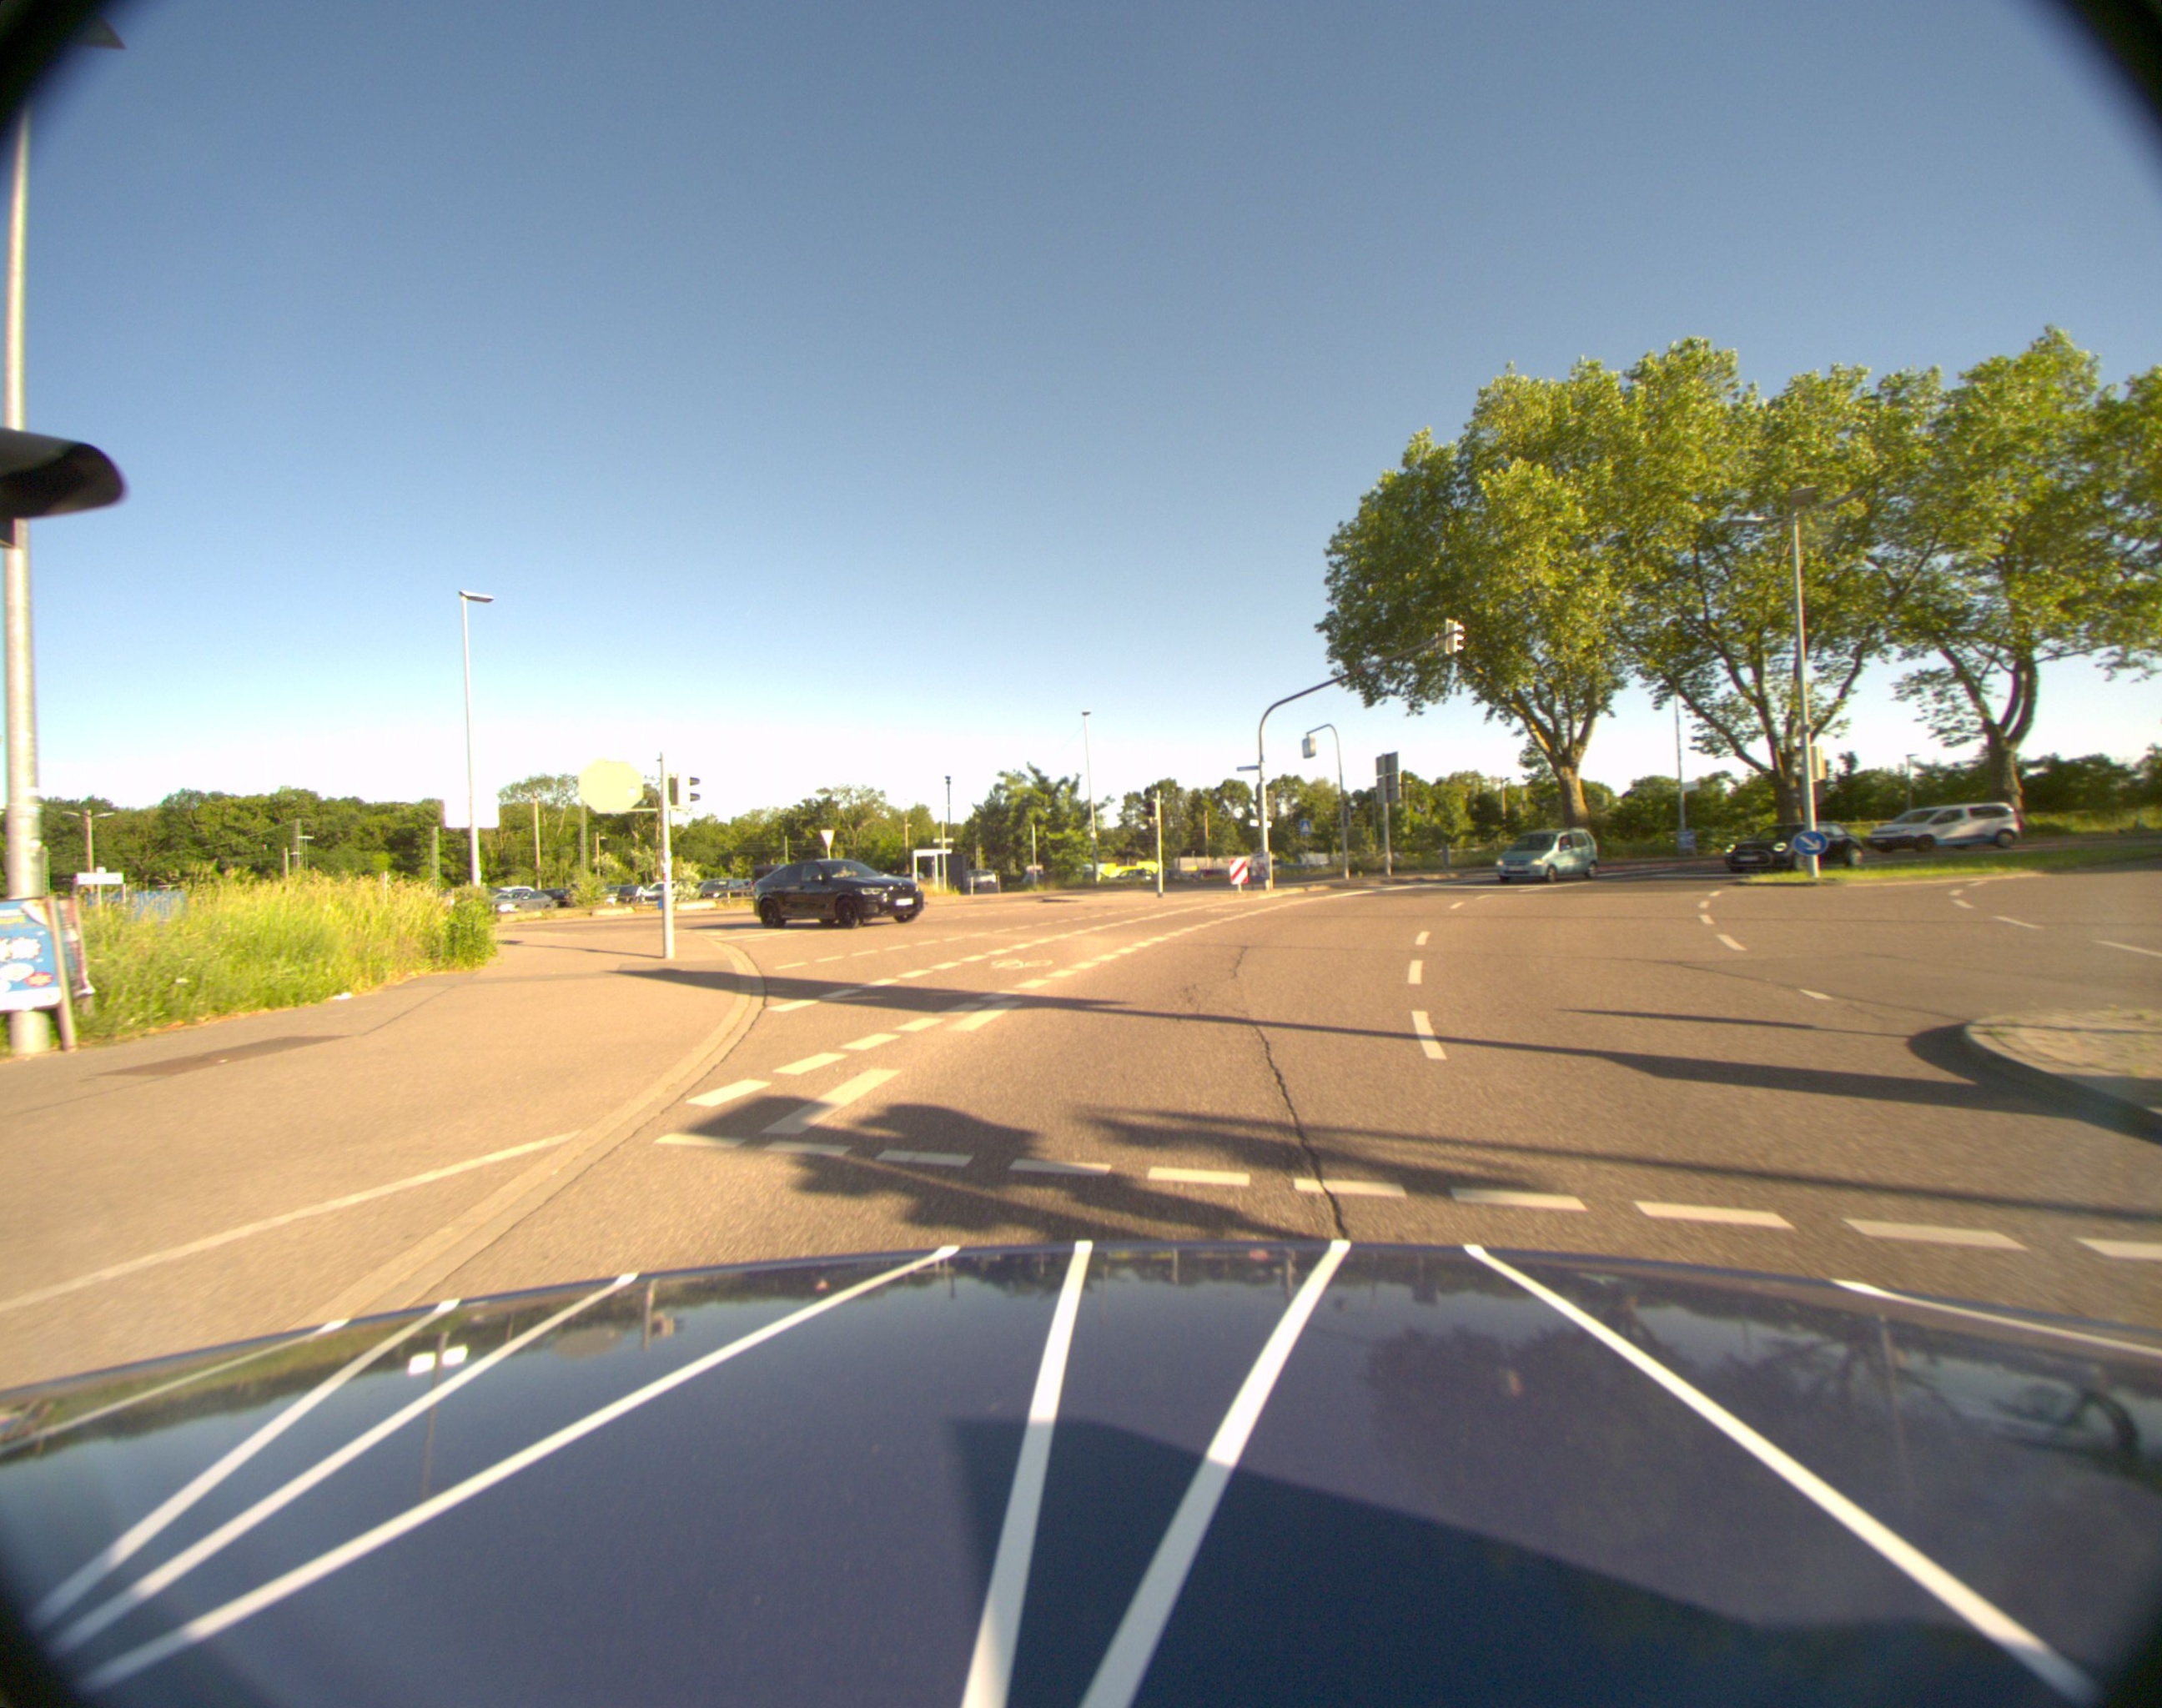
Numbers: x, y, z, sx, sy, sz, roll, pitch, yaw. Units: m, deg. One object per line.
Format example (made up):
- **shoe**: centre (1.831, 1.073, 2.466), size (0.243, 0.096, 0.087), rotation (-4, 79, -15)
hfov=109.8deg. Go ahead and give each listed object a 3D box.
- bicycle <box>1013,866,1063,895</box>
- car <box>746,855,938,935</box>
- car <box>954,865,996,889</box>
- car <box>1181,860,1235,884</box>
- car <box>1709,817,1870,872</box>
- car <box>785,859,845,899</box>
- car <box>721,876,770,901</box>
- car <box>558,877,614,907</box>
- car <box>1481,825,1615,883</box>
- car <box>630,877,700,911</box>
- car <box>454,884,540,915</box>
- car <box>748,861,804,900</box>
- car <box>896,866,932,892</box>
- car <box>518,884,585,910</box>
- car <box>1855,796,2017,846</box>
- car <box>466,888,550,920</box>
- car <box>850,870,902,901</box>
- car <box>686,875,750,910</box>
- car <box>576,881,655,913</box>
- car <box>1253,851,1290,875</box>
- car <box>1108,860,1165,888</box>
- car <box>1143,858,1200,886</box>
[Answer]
- **bicycle**: centre (-2.611, 1.596, 45.686), size (2.948, 1.607, 0.908), rotation (-3, 1, 34)
- **car**: centre (-6.021, 0.985, 18.946), size (4.738, 1.704, 2.052), rotation (-2, 1, 36)
- **car**: centre (-8.478, 1.807, 60.660), size (2.180, 1.720, 4.484), rotation (-3, 0, -23)
- **car**: centre (8.316, 1.154, 50.098), size (1.731, 1.451, 3.994), rotation (-3, 0, -19)
- **car**: centre (21.551, -0.290, 23.142), size (3.939, 1.419, 1.906), rotation (-3, 0, -18)
- **car**: centre (-18.270, 1.677, 52.470), size (2.401, 2.502, 5.511), rotation (-3, 0, -4)
- **car**: centre (-23.612, 2.409, 53.598), size (1.833, 1.499, 3.751), rotation (-3, 0, -2)
- **car**: centre (-34.028, 2.601, 52.348), size (1.771, 1.724, 3.776), rotation (-3, 1, -8)
- **car**: centre (15.157, -0.024, 24.631), size (4.127, 1.626, 1.916), rotation (-3, 1, -30)
- **car**: centre (-22.631, 2.154, 41.513), size (1.886, 1.601, 4.056), rotation (-3, -1, -7)
- **car**: centre (-39.474, 3.038, 51.546), size (2.038, 1.685, 4.701), rotation (-3, 1, 0)
- **car**: centre (-20.779, 1.768, 52.024), size (2.128, 2.452, 4.481), rotation (-3, 0, -4)
- **car**: centre (-12.846, 1.890, 58.718), size (1.986, 1.798, 4.201), rotation (-3, 0, -3)
- **car**: centre (-36.415, 2.933, 52.399), size (1.890, 1.479, 3.942), rotation (-3, 1, -2)
- **car**: centre (34.986, -1.316, 31.203), size (4.261, 1.733, 1.860), rotation (-3, 0, 5)
- **car**: centre (-30.893, 2.643, 41.107), size (1.838, 1.445, 3.923), rotation (-3, 0, -6)
- **car**: centre (-11.401, 1.702, 42.536), size (1.890, 1.502, 4.273), rotation (-3, 0, -3)
- **car**: centre (-19.861, 2.077, 41.754), size (1.872, 1.645, 4.142), rotation (-3, 0, -7)
- **car**: centre (-25.315, 2.305, 41.473), size (1.855, 1.506, 4.000), rotation (-3, -1, -1)
- **car**: centre (16.028, 0.769, 64.300), size (2.197, 1.827, 5.028), rotation (-3, 0, 5)
- **car**: centre (3.502, 1.277, 48.558), size (2.016, 1.655, 3.844), rotation (-3, 0, -24)
- **car**: centre (5.806, 1.150, 49.130), size (1.843, 1.673, 3.993), rotation (-3, 0, -24)
